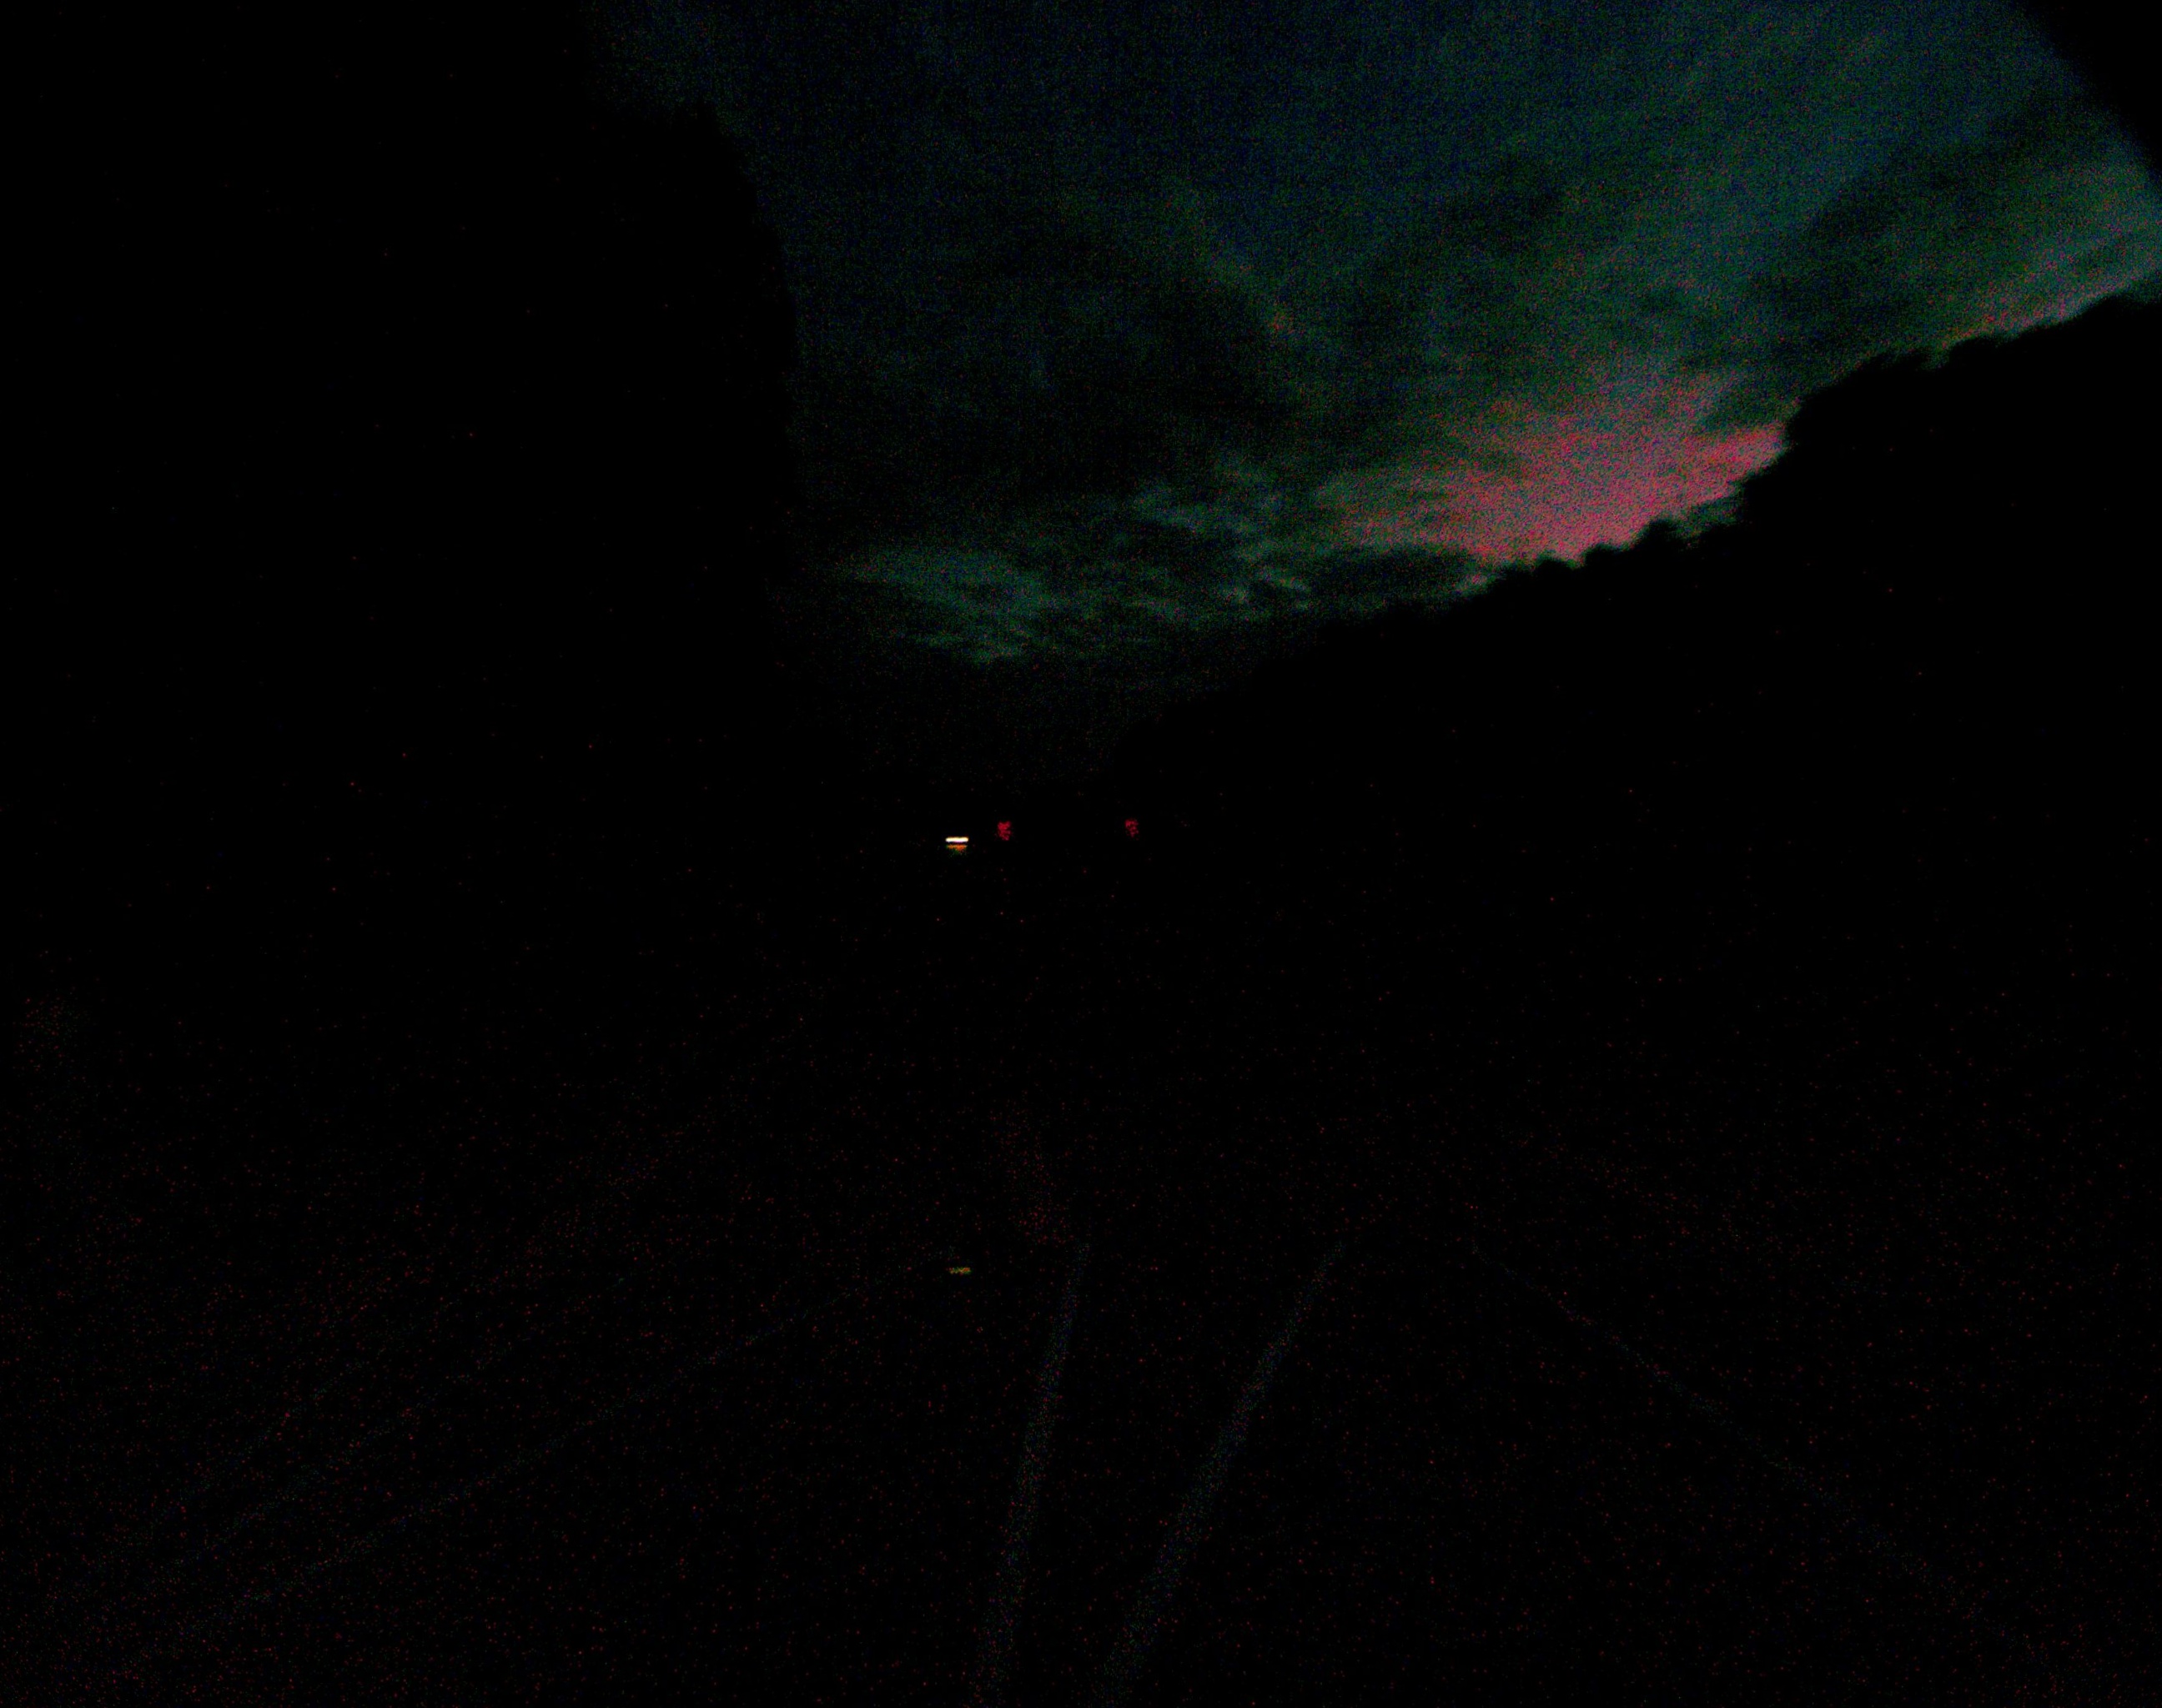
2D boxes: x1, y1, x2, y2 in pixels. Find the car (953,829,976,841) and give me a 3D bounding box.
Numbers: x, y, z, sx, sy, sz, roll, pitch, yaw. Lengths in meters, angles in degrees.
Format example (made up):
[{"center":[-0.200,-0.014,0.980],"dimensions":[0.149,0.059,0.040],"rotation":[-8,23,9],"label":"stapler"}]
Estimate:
[{"center":[-15.866,-2.609,103.688],"dimensions":[1.784,1.644,4.002],"rotation":[0,3,12],"label":"car"}]
